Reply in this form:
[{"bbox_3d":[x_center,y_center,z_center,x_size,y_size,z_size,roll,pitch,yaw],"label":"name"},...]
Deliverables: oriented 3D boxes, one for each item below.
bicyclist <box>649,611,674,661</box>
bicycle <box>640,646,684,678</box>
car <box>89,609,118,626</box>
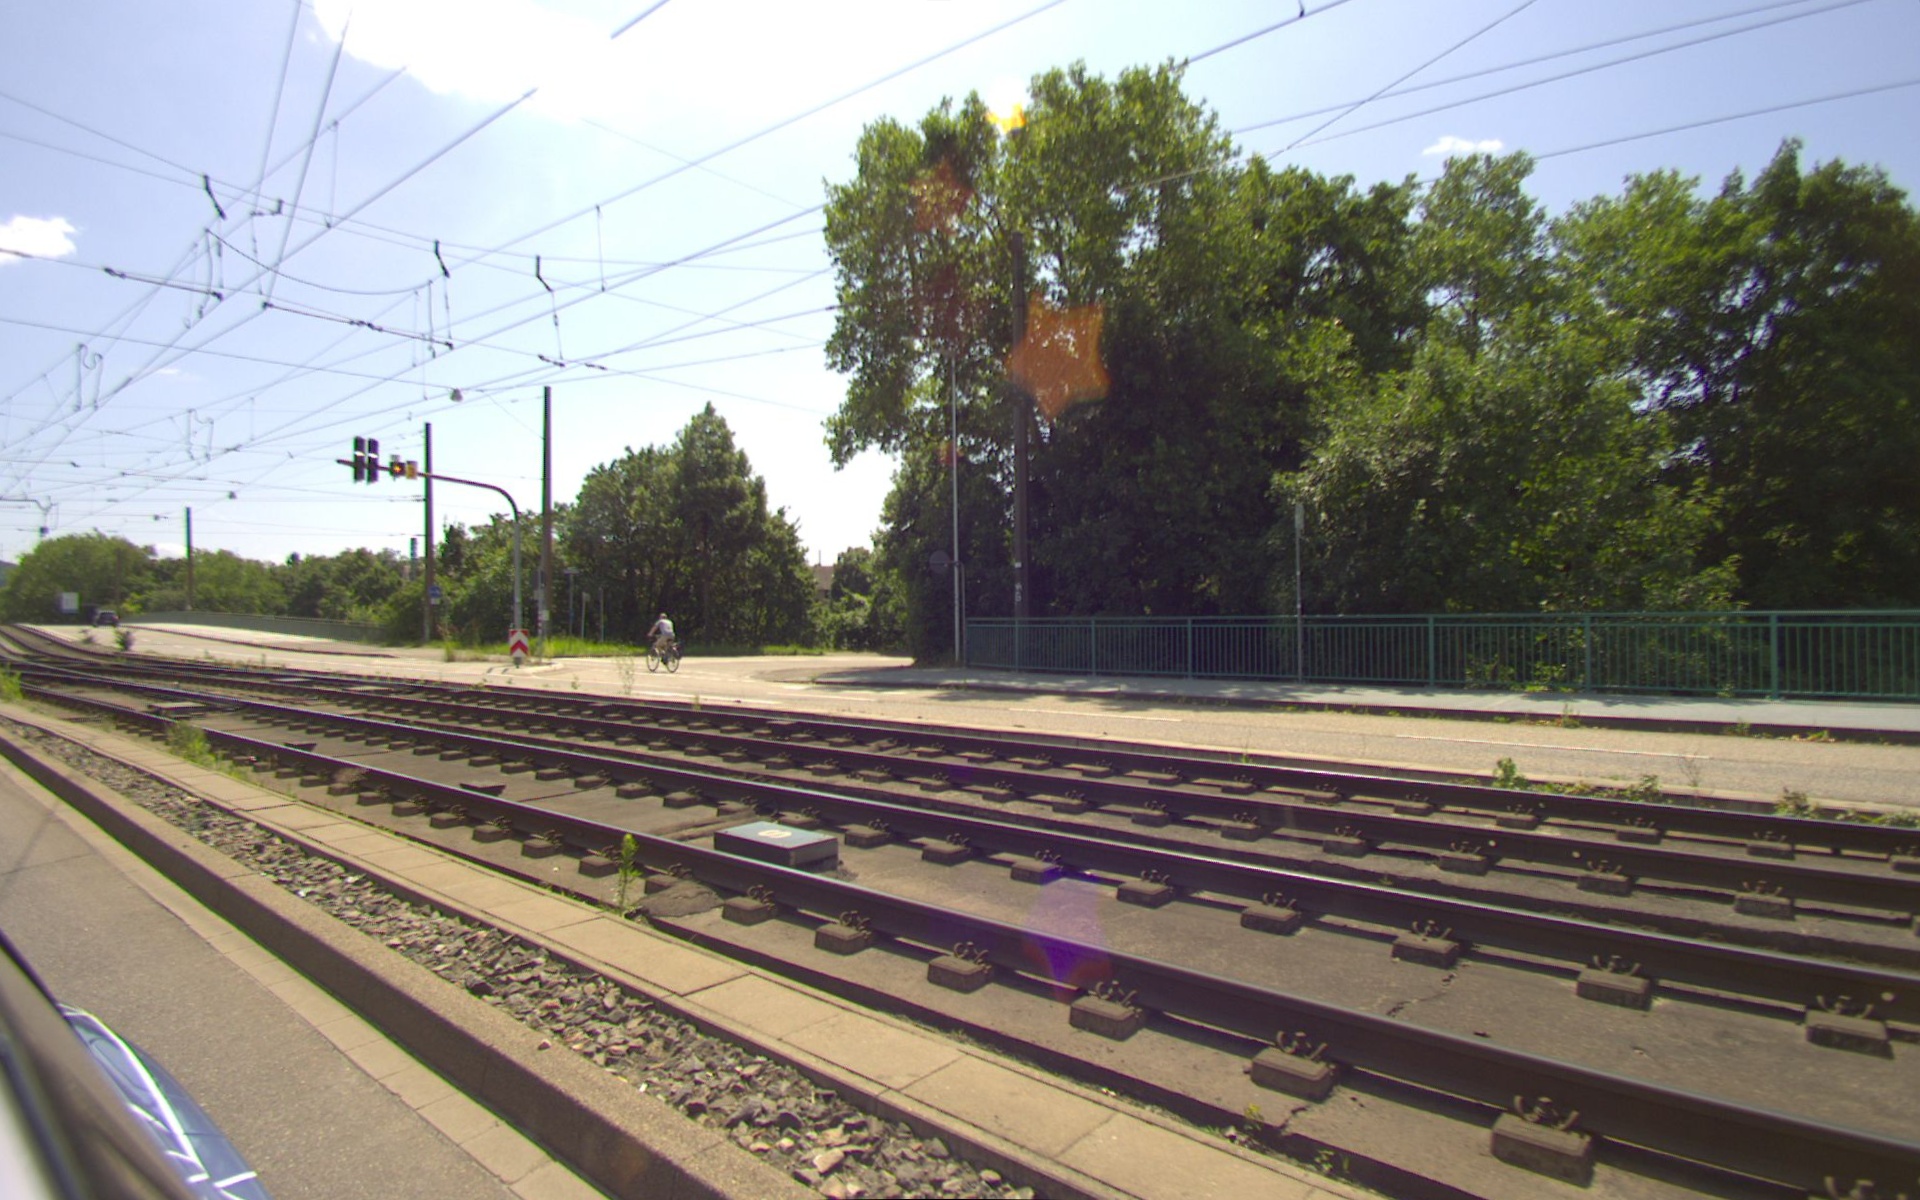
[{"bbox_3d":[-8.899,1.064,30.207,0.633,1.485,0.451,-1,-1,43],"label":"bicyclist"},{"bbox_3d":[-8.905,1.843,30.212,1.743,0.875,0.463,-1,-1,44],"label":"bicycle"},{"bbox_3d":[-78.615,1.627,92.858,1.685,1.521,3.735,1,-2,-45],"label":"car"}]
